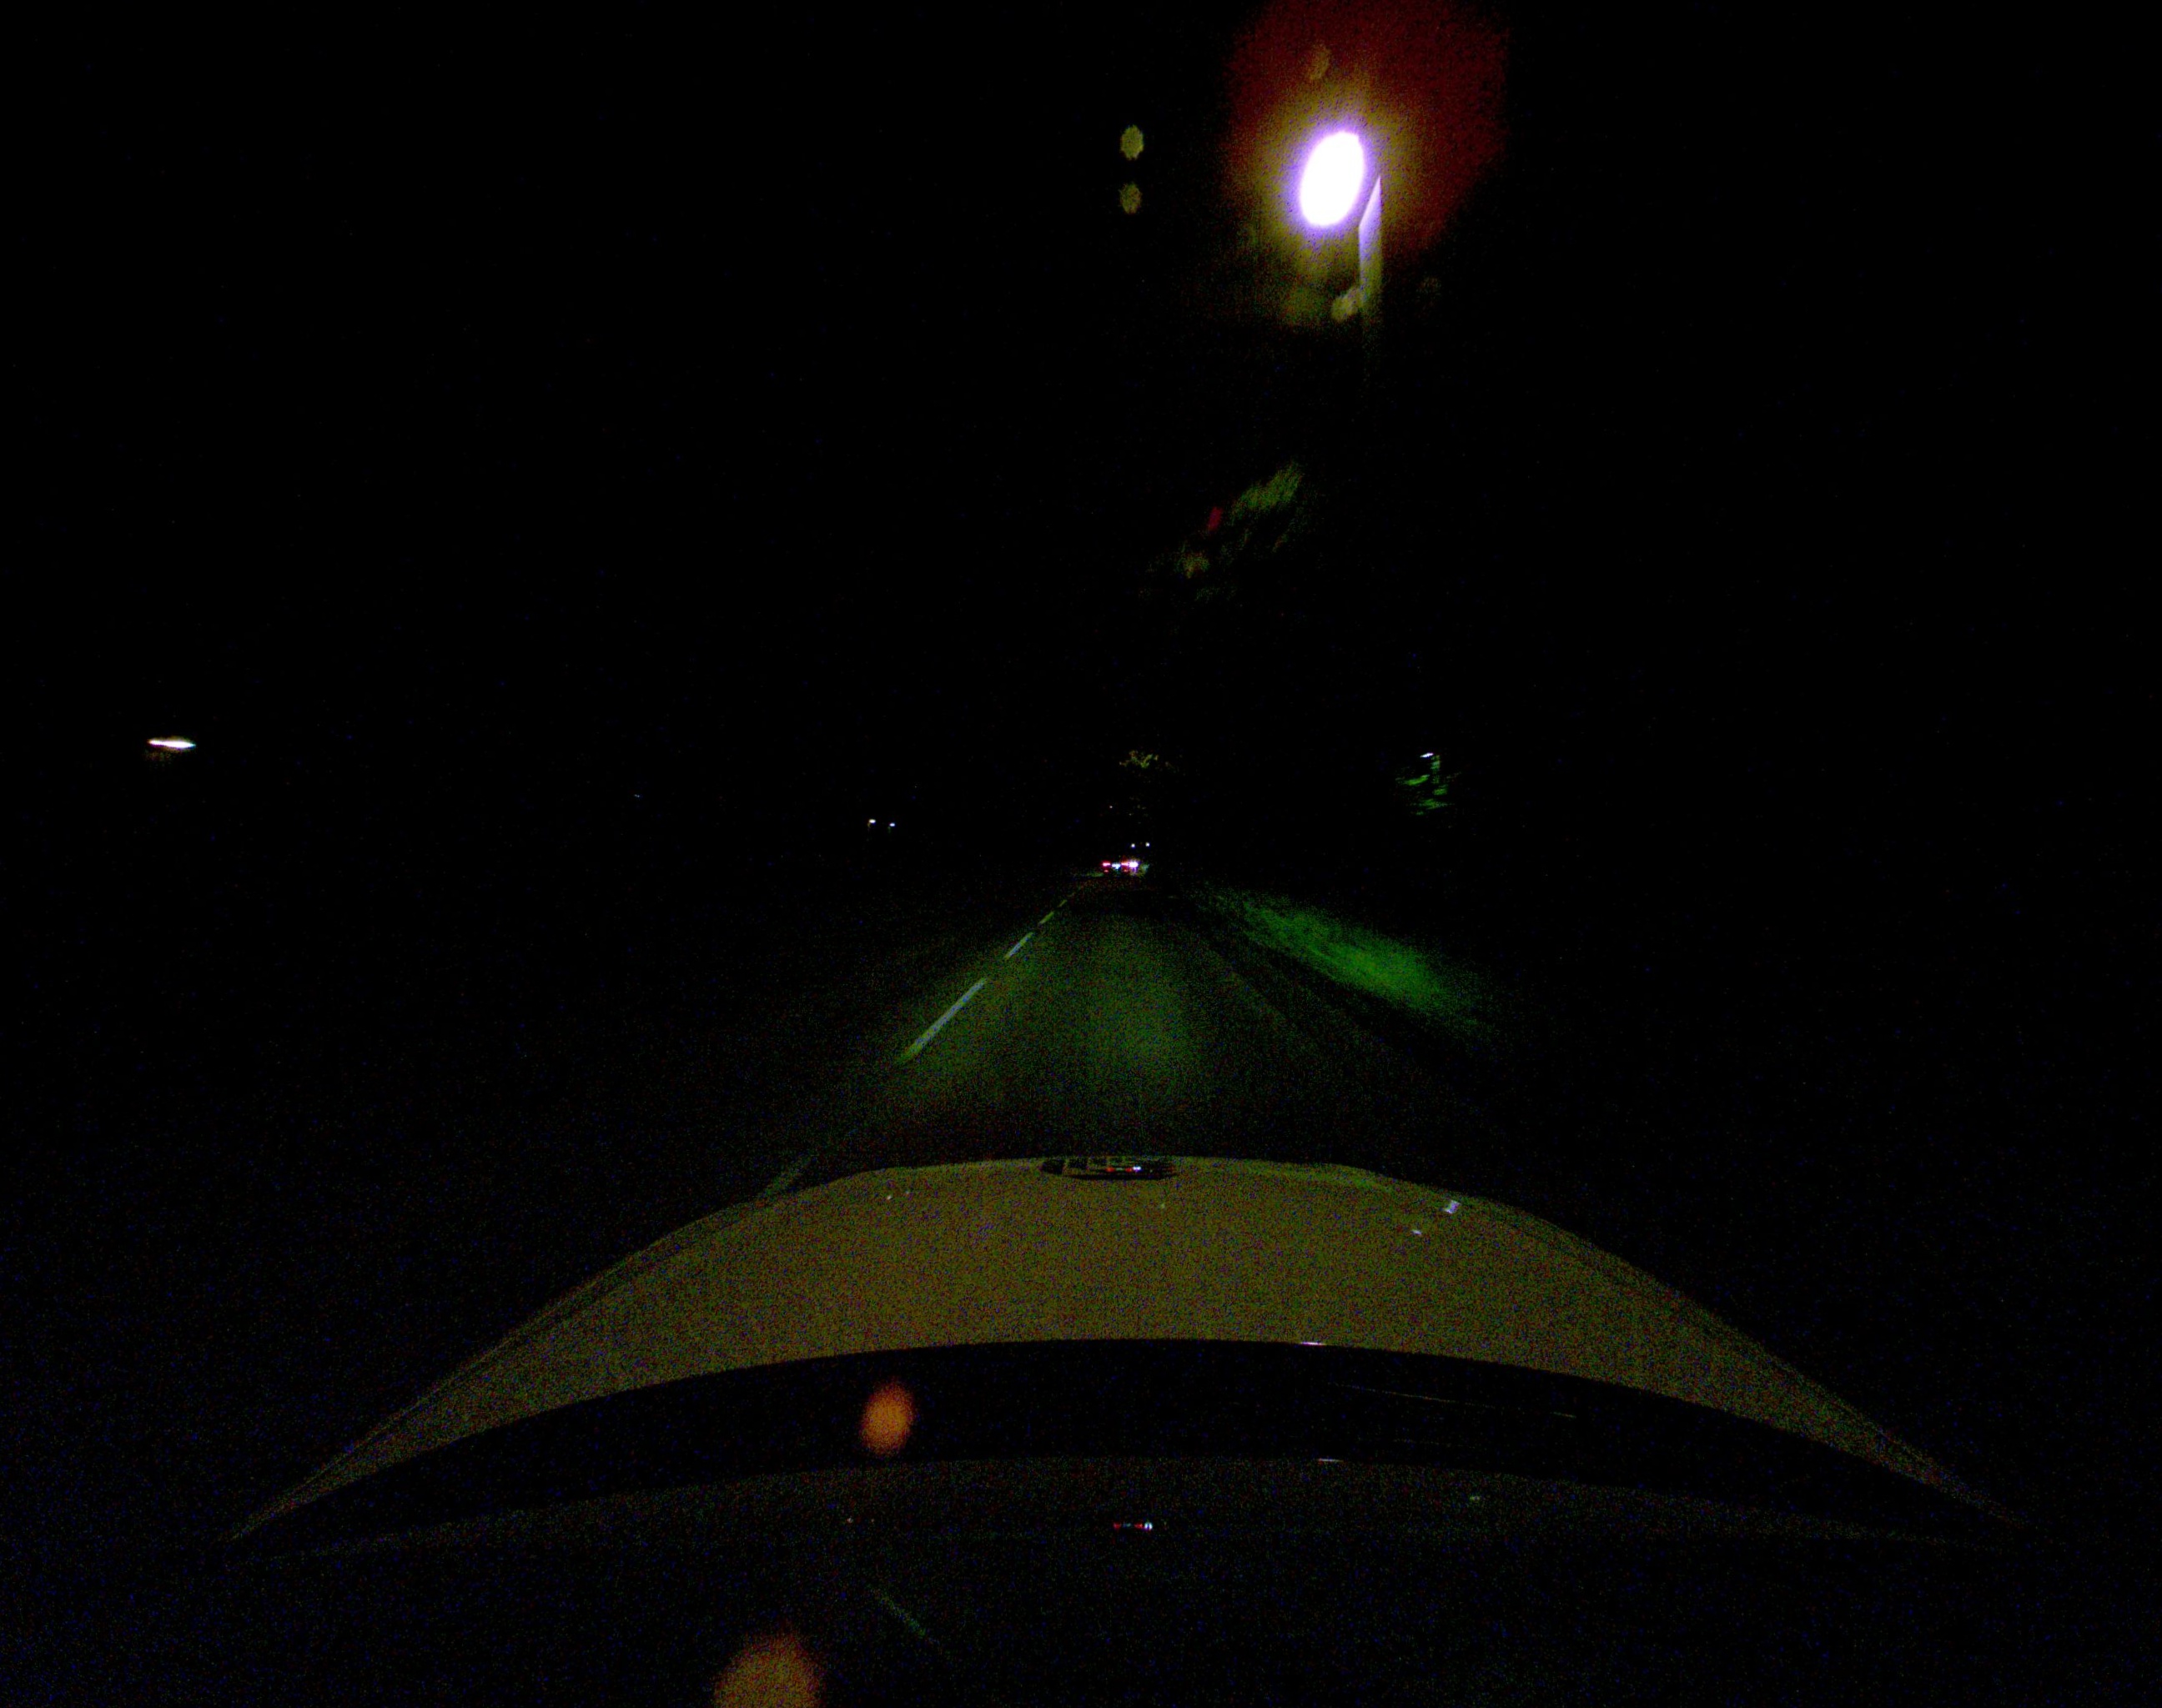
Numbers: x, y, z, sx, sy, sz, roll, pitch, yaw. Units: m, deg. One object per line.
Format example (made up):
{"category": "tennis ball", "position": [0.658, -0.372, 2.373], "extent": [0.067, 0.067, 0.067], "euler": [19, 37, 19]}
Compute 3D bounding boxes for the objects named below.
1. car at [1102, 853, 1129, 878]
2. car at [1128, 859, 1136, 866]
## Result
{"category": "car", "position": [2.321, 0.794, 55.287], "extent": [1.757, 1.642, 3.724], "euler": [0, 0, 1]}
{"category": "car", "position": [10.942, 1.911, 174.920], "extent": [1.680, 1.457, 4.003], "euler": [0, -1, 3]}
